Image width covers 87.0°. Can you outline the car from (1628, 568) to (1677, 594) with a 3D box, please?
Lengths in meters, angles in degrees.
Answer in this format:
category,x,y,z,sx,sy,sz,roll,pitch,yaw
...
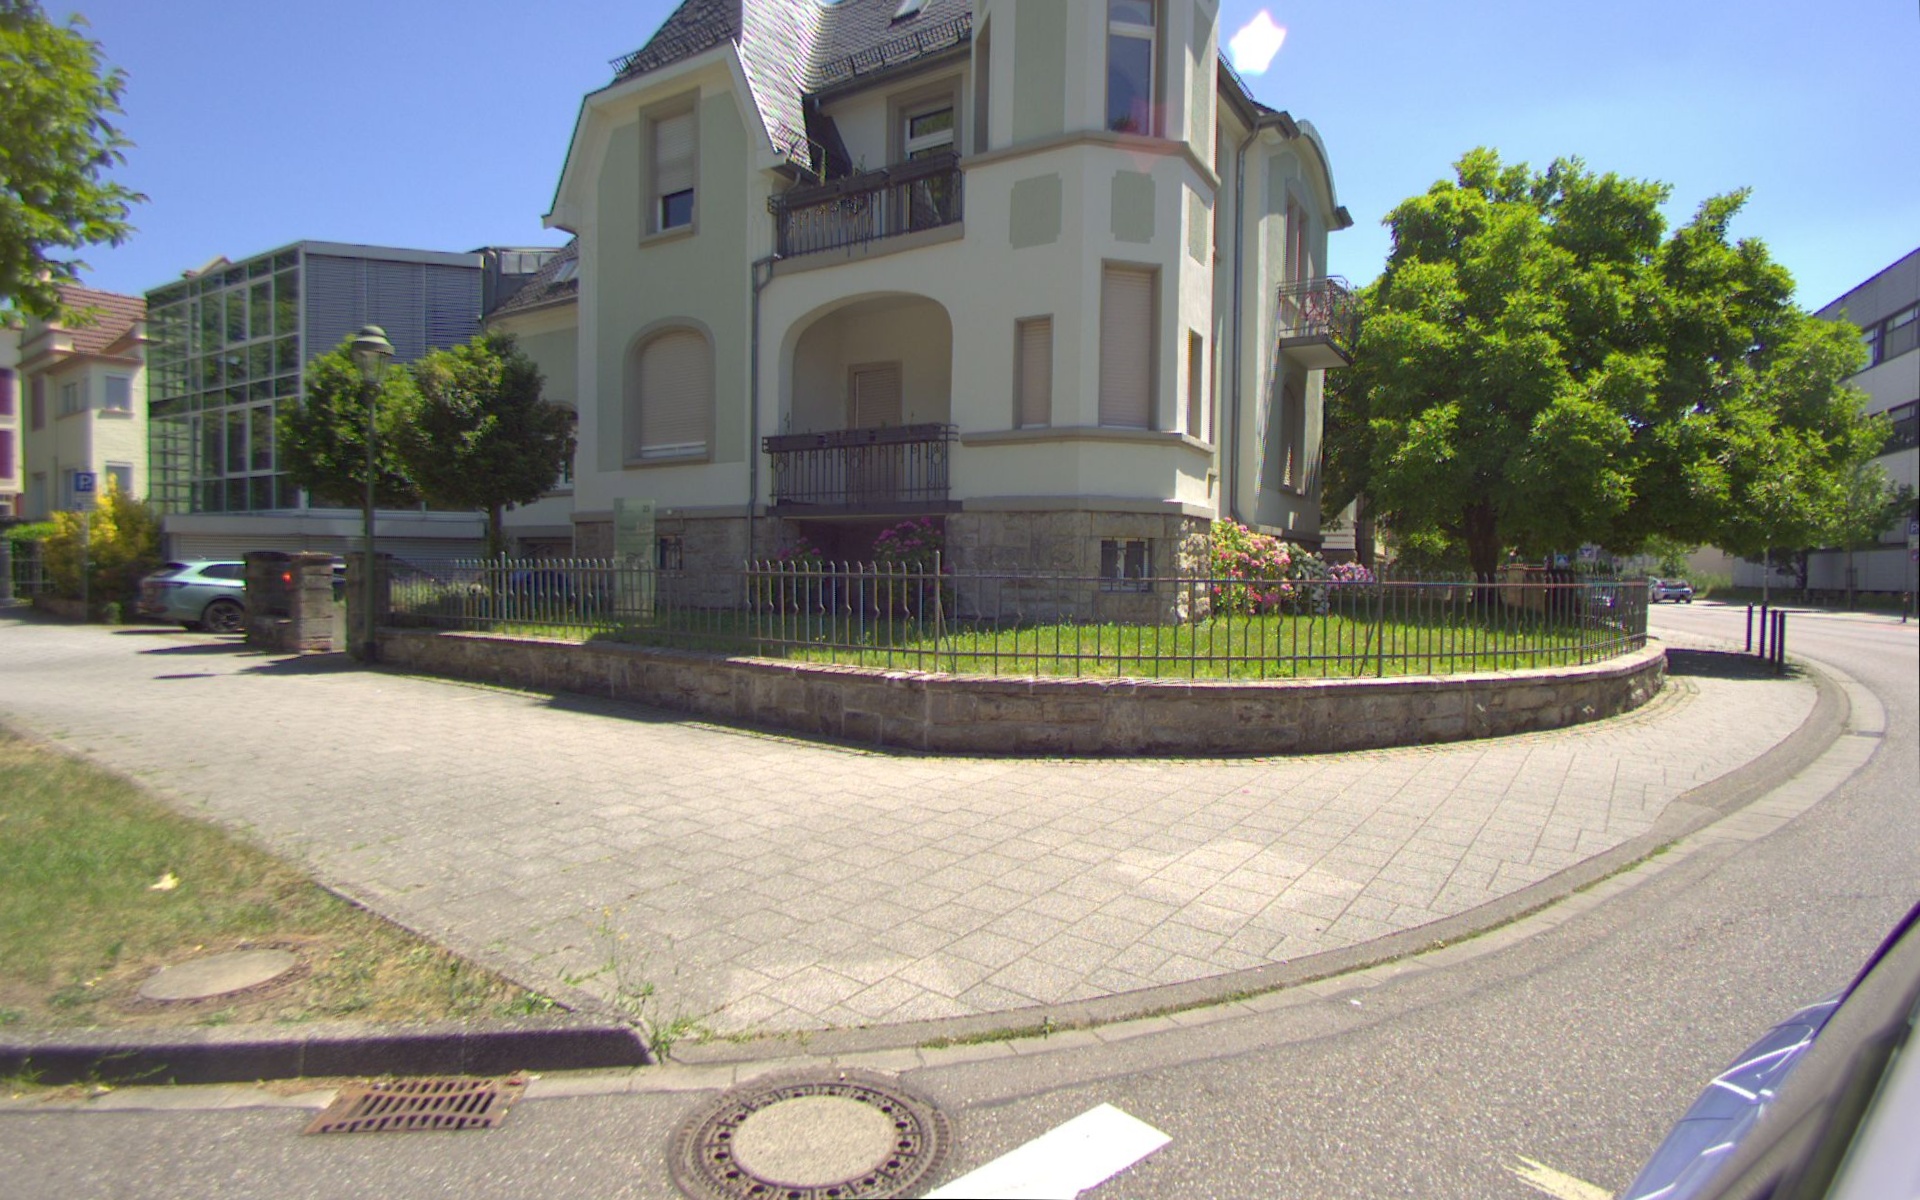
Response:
category,x,y,z,sx,sy,sz,roll,pitch,yaw
car,42.771,-1.212,62.568,1.726,1.521,3.708,0,2,22

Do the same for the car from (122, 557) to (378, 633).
category,x,y,z,sx,sy,sz,roll,pitch,yaw
car,-14.569,-0.176,20.951,1.990,1.408,3.946,2,3,38

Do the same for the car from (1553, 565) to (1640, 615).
category,x,y,z,sx,sy,sz,roll,pitch,yaw
car,21.617,-0.381,34.536,1.754,1.560,3.972,2,2,22

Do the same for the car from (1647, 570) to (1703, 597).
category,x,y,z,sx,sy,sz,roll,pitch,yaw
car,40.694,-0.960,57.679,1.716,1.467,4.002,0,2,22

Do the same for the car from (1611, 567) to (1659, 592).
category,x,y,z,sx,sy,sz,roll,pitch,yaw
car,44.698,-1.372,67.074,1.754,1.560,3.972,2,2,22
